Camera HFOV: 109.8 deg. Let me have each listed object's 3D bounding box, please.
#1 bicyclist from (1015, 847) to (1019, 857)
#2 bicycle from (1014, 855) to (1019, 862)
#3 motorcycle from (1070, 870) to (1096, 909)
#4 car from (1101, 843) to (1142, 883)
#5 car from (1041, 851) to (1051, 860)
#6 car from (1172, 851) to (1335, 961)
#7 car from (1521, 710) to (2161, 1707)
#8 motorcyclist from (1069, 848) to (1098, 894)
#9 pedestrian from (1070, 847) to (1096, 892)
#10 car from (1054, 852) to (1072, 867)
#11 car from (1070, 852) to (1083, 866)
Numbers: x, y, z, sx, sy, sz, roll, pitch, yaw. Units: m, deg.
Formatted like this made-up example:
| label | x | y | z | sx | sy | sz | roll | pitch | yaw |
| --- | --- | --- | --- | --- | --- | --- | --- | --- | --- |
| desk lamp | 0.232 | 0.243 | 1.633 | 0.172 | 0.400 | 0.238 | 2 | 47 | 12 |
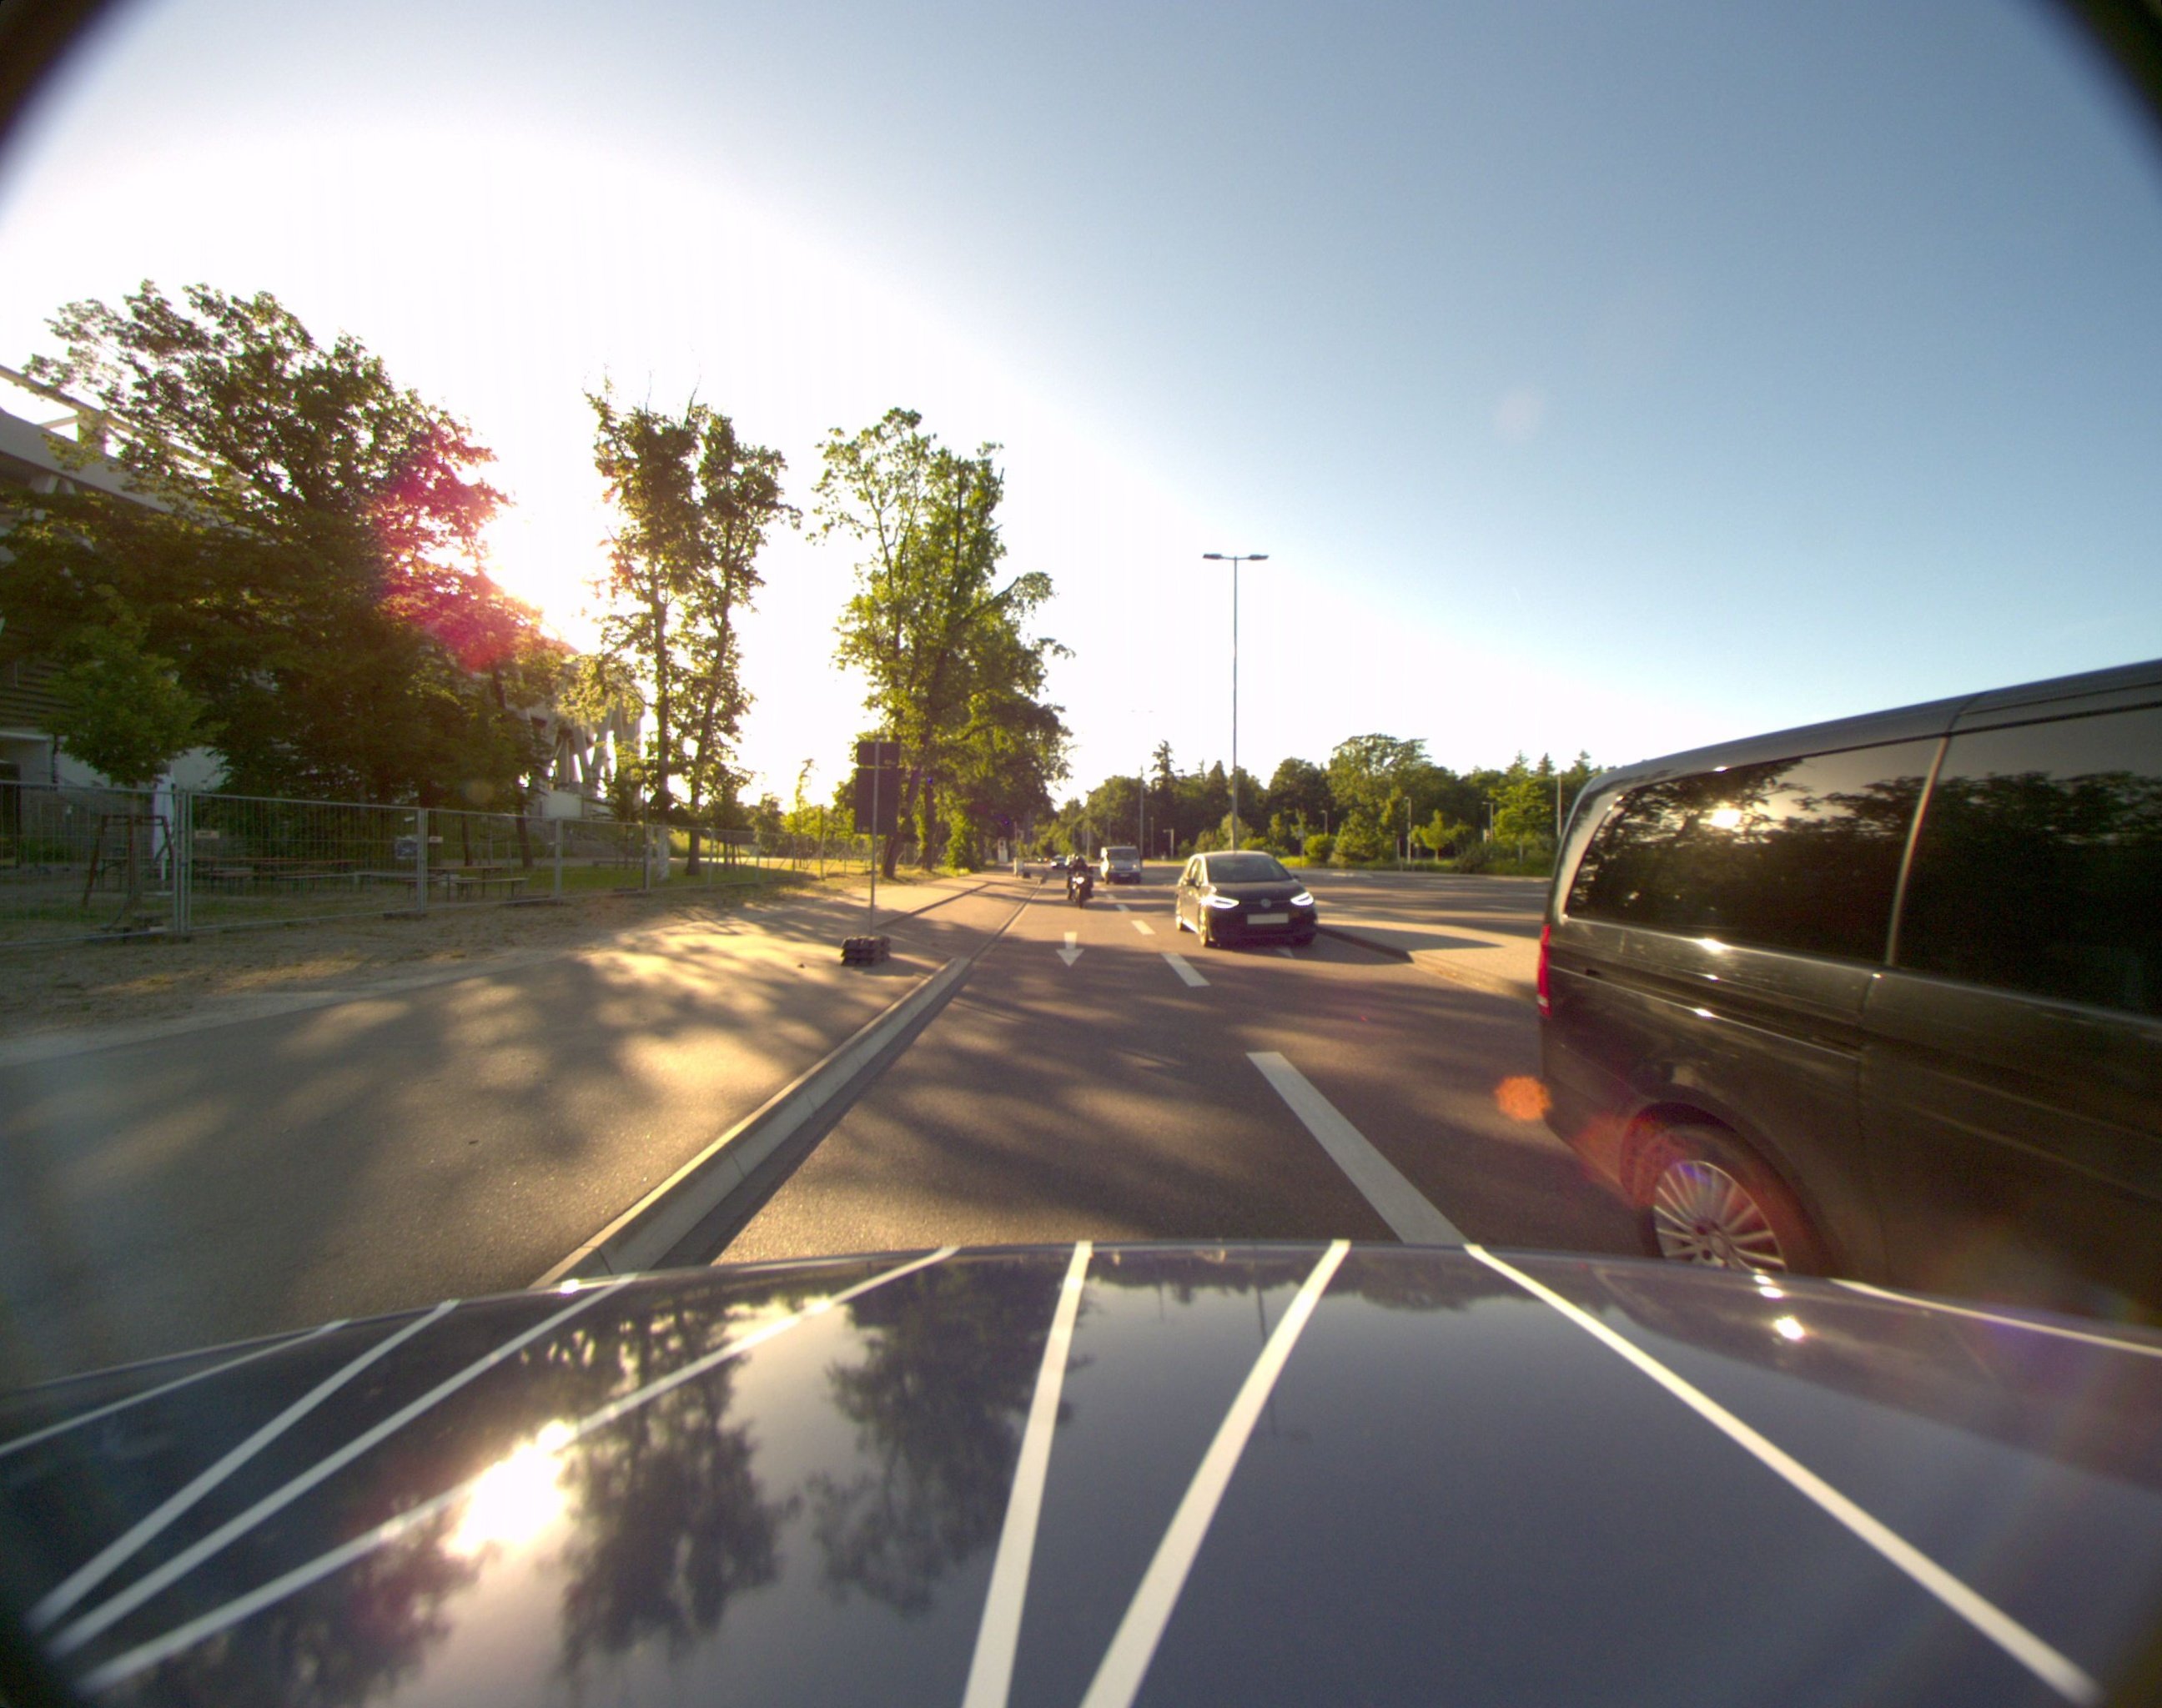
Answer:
| label | x | y | z | sx | sy | sz | roll | pitch | yaw |
| --- | --- | --- | --- | --- | --- | --- | --- | --- | --- |
| bicyclist | -8.337 | -0.257 | 98.969 | 0.451 | 1.412 | 0.575 | 0 | 1 | 0 |
| bicycle | -8.349 | 0.584 | 98.937 | 0.481 | 0.854 | 1.910 | 0 | 0 | 1 |
| motorcycle | 0.081 | 1.071 | 23.581 | 0.717 | 1.058 | 2.721 | -2 | 0 | 1 |
| car | 2.164 | 0.471 | 41.508 | 1.883 | 1.951 | 5.048 | -2 | 0 | 0 |
| car | -7.409 | 0.278 | 161.081 | 1.774 | 1.849 | 3.999 | -2 | 1 | 1 |
| car | 2.795 | 0.760 | 13.248 | 1.883 | 1.528 | 3.999 | -2 | 1 | 0 |
| car | 2.695 | 0.650 | 0.515 | 1.912 | 1.845 | 4.873 | -2 | -1 | 0 |
| motorcyclist | 0.082 | 0.519 | 23.637 | 0.822 | 1.367 | 0.476 | -2 | 1 | 1 |
| pedestrian | 0.068 | 0.501 | 24.165 | 0.739 | 1.387 | 0.500 | -2 | 1 | 1 |
| car | -1.954 | 0.599 | 84.291 | 1.883 | 1.629 | 5.048 | -2 | 0 | 0 |
| car | -0.659 | 0.688 | 108.620 | 1.675 | 1.827 | 3.982 | -2 | 1 | 1 |
